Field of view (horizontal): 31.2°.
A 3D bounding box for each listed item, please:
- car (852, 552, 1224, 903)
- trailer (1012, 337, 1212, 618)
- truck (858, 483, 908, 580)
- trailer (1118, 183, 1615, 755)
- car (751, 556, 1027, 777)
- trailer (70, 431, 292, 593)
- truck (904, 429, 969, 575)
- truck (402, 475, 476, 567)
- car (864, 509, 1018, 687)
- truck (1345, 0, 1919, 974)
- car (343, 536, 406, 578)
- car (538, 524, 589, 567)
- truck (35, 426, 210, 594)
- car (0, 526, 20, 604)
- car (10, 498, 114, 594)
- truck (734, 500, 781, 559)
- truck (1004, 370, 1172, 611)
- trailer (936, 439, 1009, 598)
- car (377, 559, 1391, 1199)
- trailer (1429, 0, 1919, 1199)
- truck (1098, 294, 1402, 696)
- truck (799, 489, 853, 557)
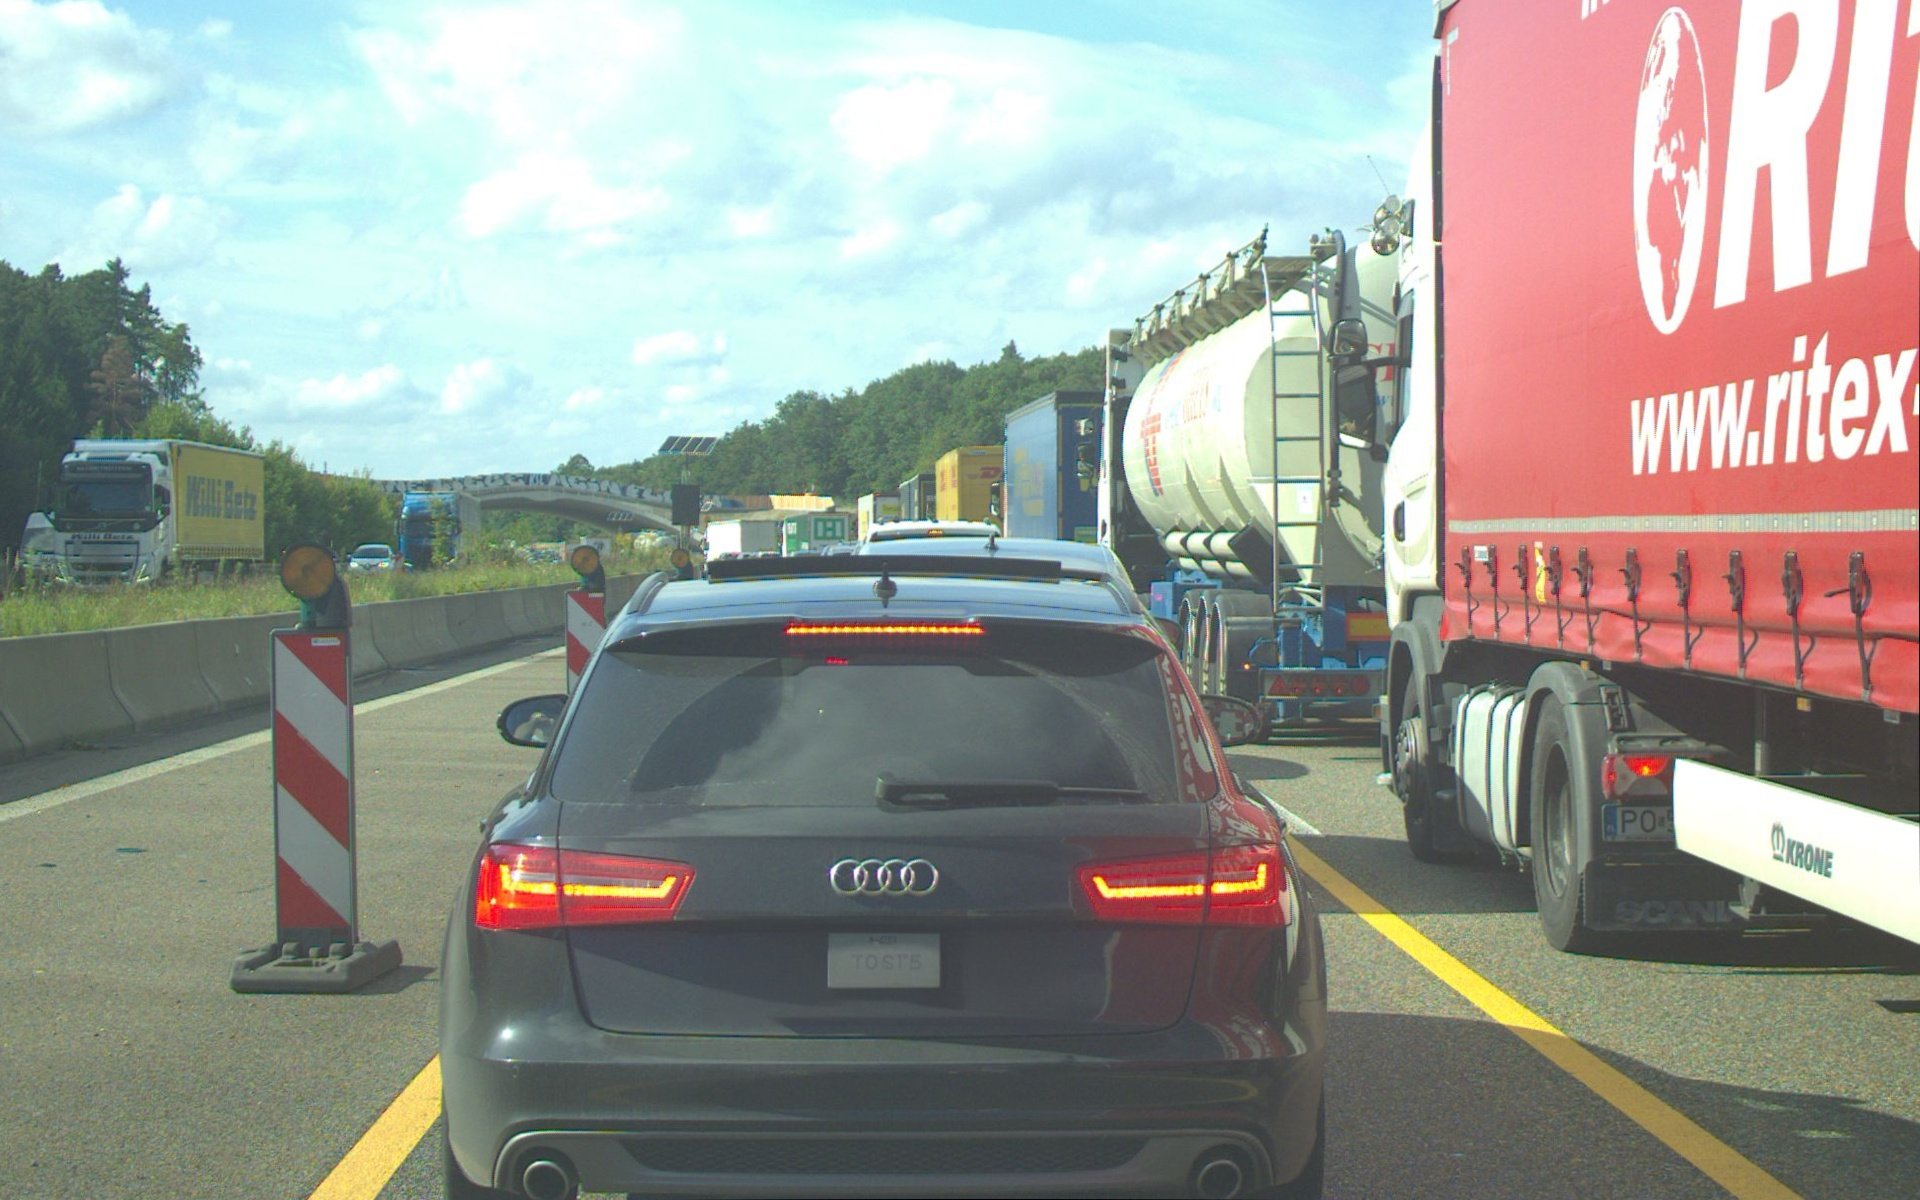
[{"bbox_3d":[0.306,0.515,15.906,1.524,1.434,3.285,1,0,-1],"label":"car"},{"bbox_3d":[2.483,-1.981,59.530,2.805,4.398,10.433,1,0,-1],"label":"trailer"},{"bbox_3d":[-3.453,-3.026,154.293,2.137,4.243,7.072,1,0,-1],"label":"truck"},{"bbox_3d":[3.110,-0.998,30.170,2.644,3.929,12.598,1,1,-1],"label":"trailer"},{"bbox_3d":[-0.474,0.411,23.914,1.751,1.392,3.608,1,0,-1],"label":"car"},{"bbox_3d":[-20.424,-2.218,91.173,2.827,3.909,13.941,1,0,-1],"label":"trailer"},{"bbox_3d":[-0.876,-3.396,121.102,1.993,4.897,9.563,1,1,-2],"label":"truck"},{"bbox_3d":[-24.053,-3.630,158.822,2.637,4.175,5.468,1,1,-1],"label":"truck"},{"bbox_3d":[-0.216,-0.031,37.432,1.581,1.830,3.112,1,0,-1],"label":"car"},{"bbox_3d":[3.415,-0.708,14.928,2.667,3.946,5.711,1,1,-1],"label":"truck"},{"bbox_3d":[-22.713,-1.665,133.569,1.787,1.555,4.000,1,0,-1],"label":"car"},{"bbox_3d":[-18.645,-2.537,161.641,1.993,1.941,4.000,1,0,-1],"label":"car"},{"bbox_3d":[-20.368,-2.140,83.897,2.826,3.895,5.949,1,0,-1],"label":"truck"},{"bbox_3d":[-25.486,-0.910,87.576,1.993,2.007,4.000,1,0,-1],"label":"car"},{"bbox_3d":[-25.401,-1.512,97.432,2.250,2.634,5.021,1,0,-8],"label":"car"},{"bbox_3d":[-14.673,-5.117,249.118,3.303,4.160,9.704,1,1,-4],"label":"truck"},{"bbox_3d":[2.381,-2.033,66.579,2.806,4.354,7.792,1,0,-1],"label":"truck"},{"bbox_3d":[0.280,-2.030,87.929,1.616,3.905,6.490,1,0,-1],"label":"trailer"},{"bbox_3d":[-0.161,0.643,8.291,1.848,1.458,4.000,0,0,-1],"label":"car"},{"bbox_3d":[3.555,-0.592,8.215,2.699,3.955,13.418,1,1,-1],"label":"trailer"},{"bbox_3d":[3.004,-1.070,37.154,2.659,3.958,5.779,1,0,-1],"label":"truck"},{"bbox_3d":[-8.459,-4.775,216.560,3.304,4.160,9.703,0,1,-2],"label":"truck"}]
